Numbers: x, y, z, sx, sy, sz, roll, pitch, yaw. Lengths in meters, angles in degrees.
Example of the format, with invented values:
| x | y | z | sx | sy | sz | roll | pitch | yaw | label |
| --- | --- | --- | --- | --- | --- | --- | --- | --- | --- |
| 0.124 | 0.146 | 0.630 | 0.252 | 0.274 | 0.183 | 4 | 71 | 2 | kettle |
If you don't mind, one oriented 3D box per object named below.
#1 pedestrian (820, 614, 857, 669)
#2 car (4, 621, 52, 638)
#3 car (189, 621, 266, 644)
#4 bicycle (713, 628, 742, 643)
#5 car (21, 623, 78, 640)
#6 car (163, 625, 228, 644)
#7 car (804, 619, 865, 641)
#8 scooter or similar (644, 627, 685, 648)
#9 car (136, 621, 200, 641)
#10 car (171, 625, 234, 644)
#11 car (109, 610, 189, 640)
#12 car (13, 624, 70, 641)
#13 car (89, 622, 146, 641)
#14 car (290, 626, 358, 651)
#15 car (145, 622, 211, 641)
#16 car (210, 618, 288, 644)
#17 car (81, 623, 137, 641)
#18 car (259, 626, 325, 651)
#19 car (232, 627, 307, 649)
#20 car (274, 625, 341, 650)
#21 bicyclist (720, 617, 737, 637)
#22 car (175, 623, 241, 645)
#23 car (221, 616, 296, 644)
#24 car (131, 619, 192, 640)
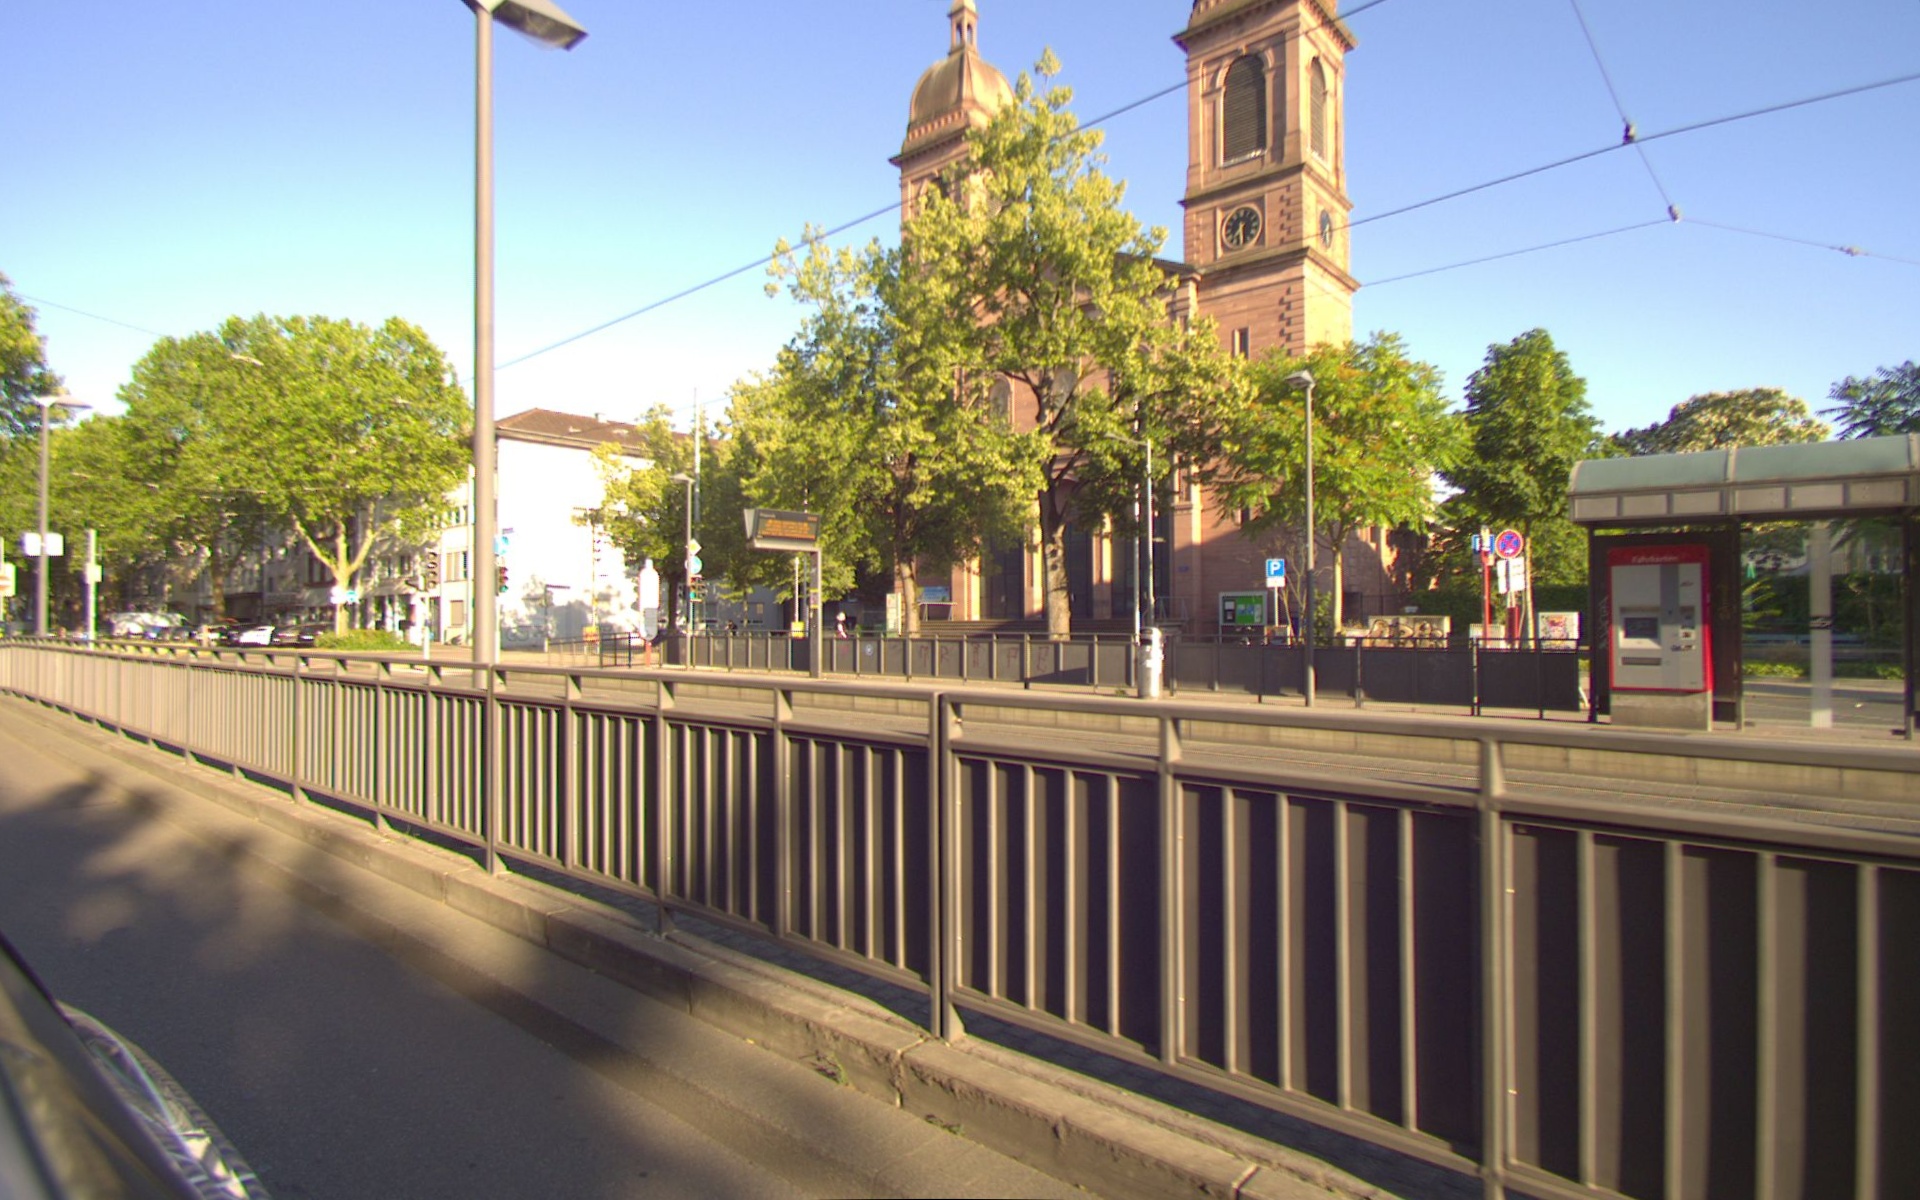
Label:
| x | y | z | sx | sy | sz | roll | pitch | yaw | label |
| --- | --- | --- | --- | --- | --- | --- | --- | --- | --- |
| -4.017 | 1.352 | 33.480 | 0.832 | 1.773 | 0.909 | 0 | 0 | 43 | pedestrian |
| -129.544 | 4.115 | 140.728 | 2.072 | 2.230 | 4.943 | -1 | -1 | -1 | car |
| -52.395 | 2.335 | 72.497 | 1.634 | 1.569 | 4.220 | -1 | -1 | 25 | car |
| -15.682 | 2.406 | 68.285 | 0.632 | 0.988 | 1.962 | -2 | -1 | 41 | bicycle |
| -97.346 | 3.381 | 108.237 | 1.997 | 1.719 | 4.183 | -1 | -1 | 37 | car |
| -62.463 | 2.780 | 82.734 | 1.883 | 1.468 | 4.251 | 0 | -1 | 5 | car |
| -8.260 | 1.981 | 66.430 | 3.999 | 1.409 | 1.792 | -3 | -2 | 42 | car |
| -16.613 | 2.112 | 56.916 | 2.447 | 1.135 | 1.082 | -1 | -2 | 42 | scooter or similar |
| -68.247 | 2.635 | 87.237 | 1.981 | 1.630 | 3.982 | -1 | -1 | 14 | car |
| -60.151 | 2.709 | 80.398 | 1.582 | 1.470 | 4.251 | 0 | -1 | 5 | car |
| -74.994 | 2.280 | 93.682 | 2.161 | 2.721 | 5.582 | -1 | -1 | 16 | car |
| -96.606 | 3.414 | 106.495 | 1.981 | 1.719 | 3.982 | -1 | -1 | 14 | car |
| -84.366 | 3.188 | 101.401 | 1.981 | 1.829 | 3.982 | -1 | -1 | 14 | car |
| -38.745 | 2.328 | 61.754 | 1.747 | 1.442 | 3.972 | -1 | -1 | -2 | car |
| -65.837 | 2.676 | 85.241 | 1.985 | 1.529 | 3.972 | -1 | -1 | 21 | car |
| -48.647 | 2.094 | 69.326 | 2.127 | 1.697 | 4.249 | -1 | -1 | 6 | car |
| -86.940 | 3.256 | 103.423 | 1.981 | 1.829 | 3.982 | -1 | -1 | 14 | car |
| -43.628 | 2.509 | 66.180 | 1.805 | 1.515 | 3.972 | -1 | -1 | -2 | car |
| -45.952 | 2.515 | 67.447 | 2.123 | 1.388 | 4.256 | 0 | -1 | 0 | car |
| -41.164 | 2.355 | 63.955 | 1.717 | 1.443 | 3.972 | -2 | -1 | -2 | car |
| -15.643 | 1.830 | 68.325 | 0.632 | 1.341 | 0.956 | -2 | -2 | 42 | bicyclist |
| -57.720 | 2.605 | 77.763 | 1.881 | 1.626 | 4.257 | 0 | -1 | 0 | car |
| -50.294 | 2.113 | 72.625 | 1.508 | 1.958 | 4.220 | -1 | -1 | 25 | car |
| -72.593 | 2.682 | 92.082 | 1.981 | 1.830 | 3.982 | 0 | -2 | 14 | car |
